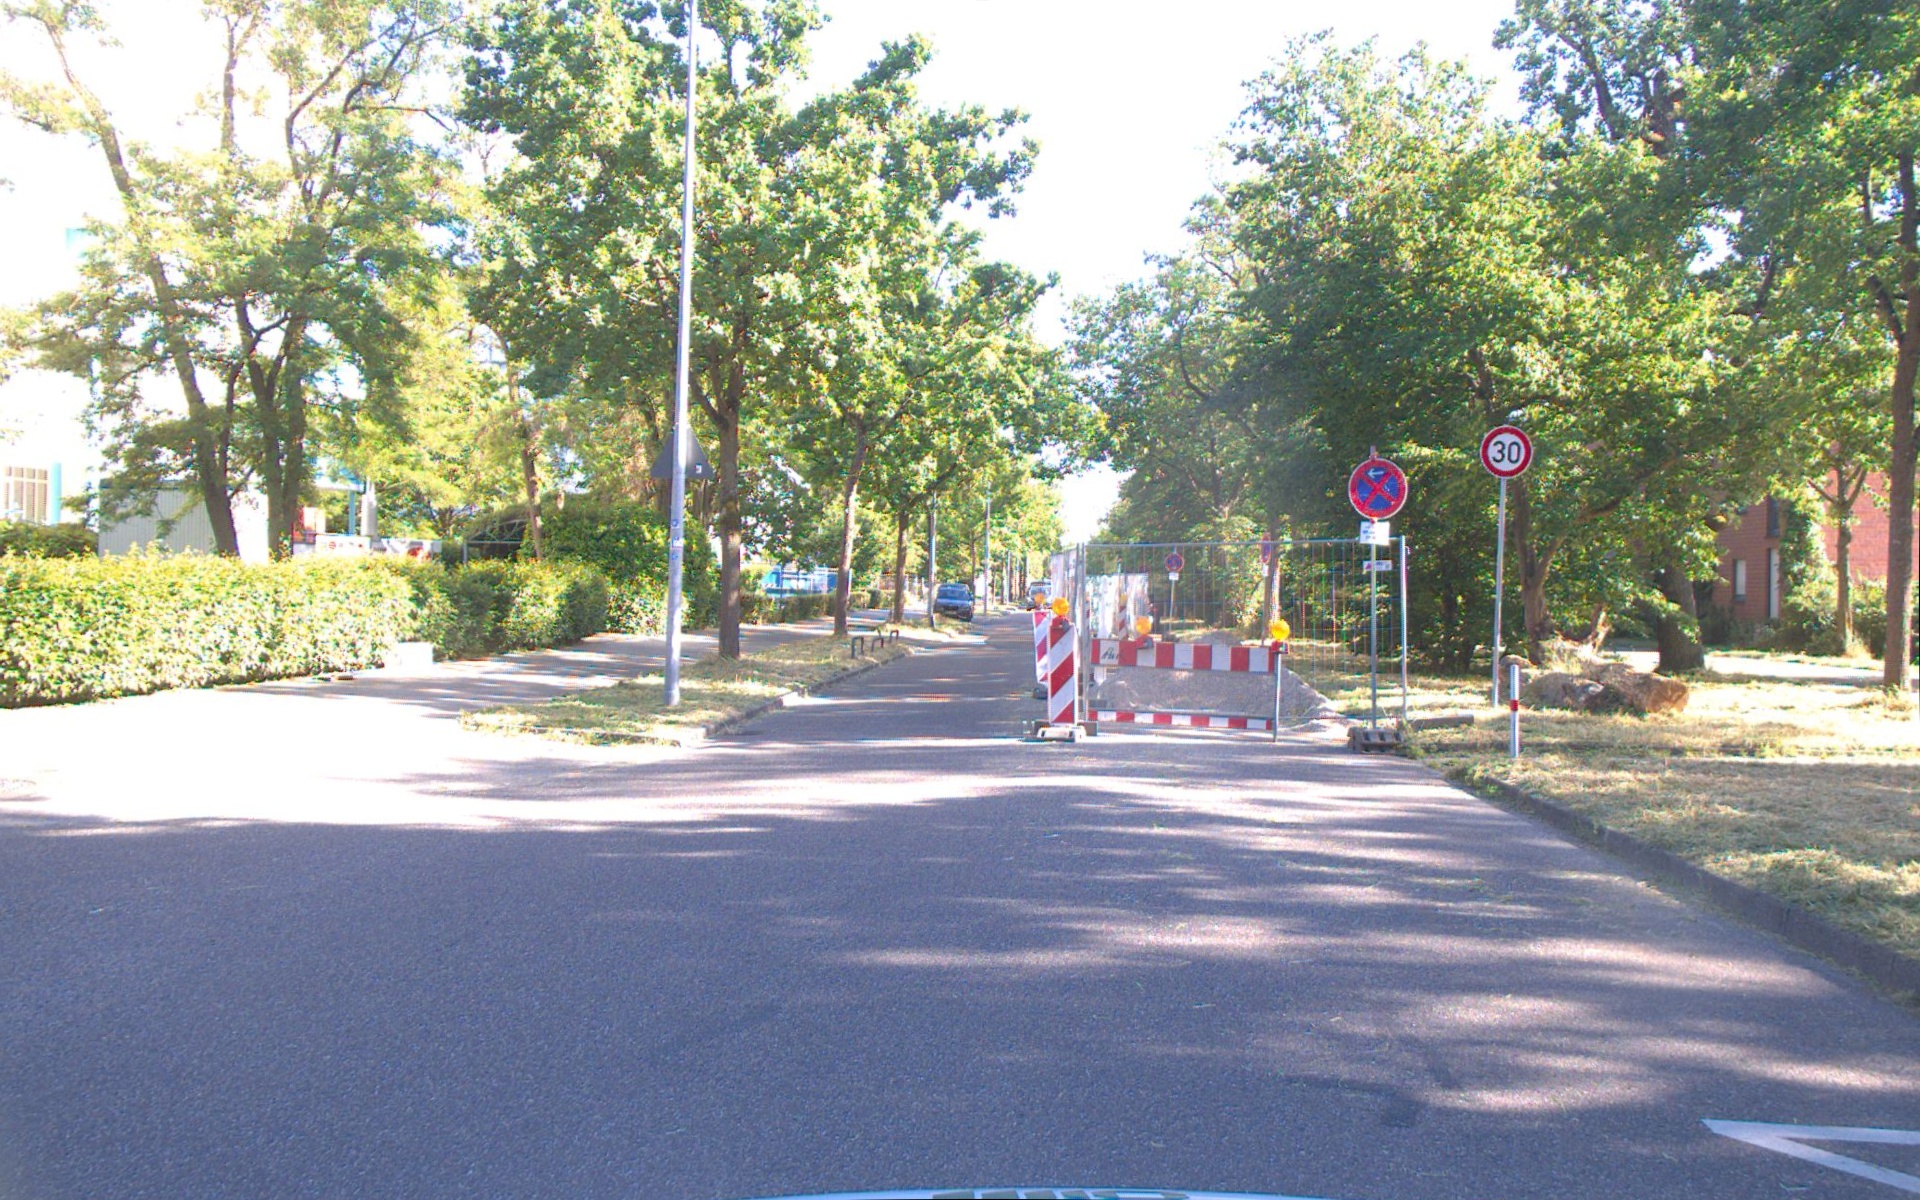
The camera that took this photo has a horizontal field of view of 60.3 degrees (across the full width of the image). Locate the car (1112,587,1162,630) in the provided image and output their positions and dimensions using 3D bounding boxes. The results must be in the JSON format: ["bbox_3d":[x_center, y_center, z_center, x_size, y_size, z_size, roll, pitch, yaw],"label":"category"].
[{"bbox_3d":[7.032,0.299,65.937,1.716,1.623,3.659,1,0,3],"label":"car"}]

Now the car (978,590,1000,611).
[{"bbox_3d":[1.890,0.053,107.224,1.333,1.325,3.482,2,0,2],"label":"car"}]

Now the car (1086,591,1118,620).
[{"bbox_3d":[6.956,0.261,81.315,1.333,1.325,3.482,2,0,2],"label":"car"}]

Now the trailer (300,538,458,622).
[{"bbox_3d":[-15.219,-0.511,43.576,1.934,2.078,4.434,1,0,11],"label":"trailer"}]
